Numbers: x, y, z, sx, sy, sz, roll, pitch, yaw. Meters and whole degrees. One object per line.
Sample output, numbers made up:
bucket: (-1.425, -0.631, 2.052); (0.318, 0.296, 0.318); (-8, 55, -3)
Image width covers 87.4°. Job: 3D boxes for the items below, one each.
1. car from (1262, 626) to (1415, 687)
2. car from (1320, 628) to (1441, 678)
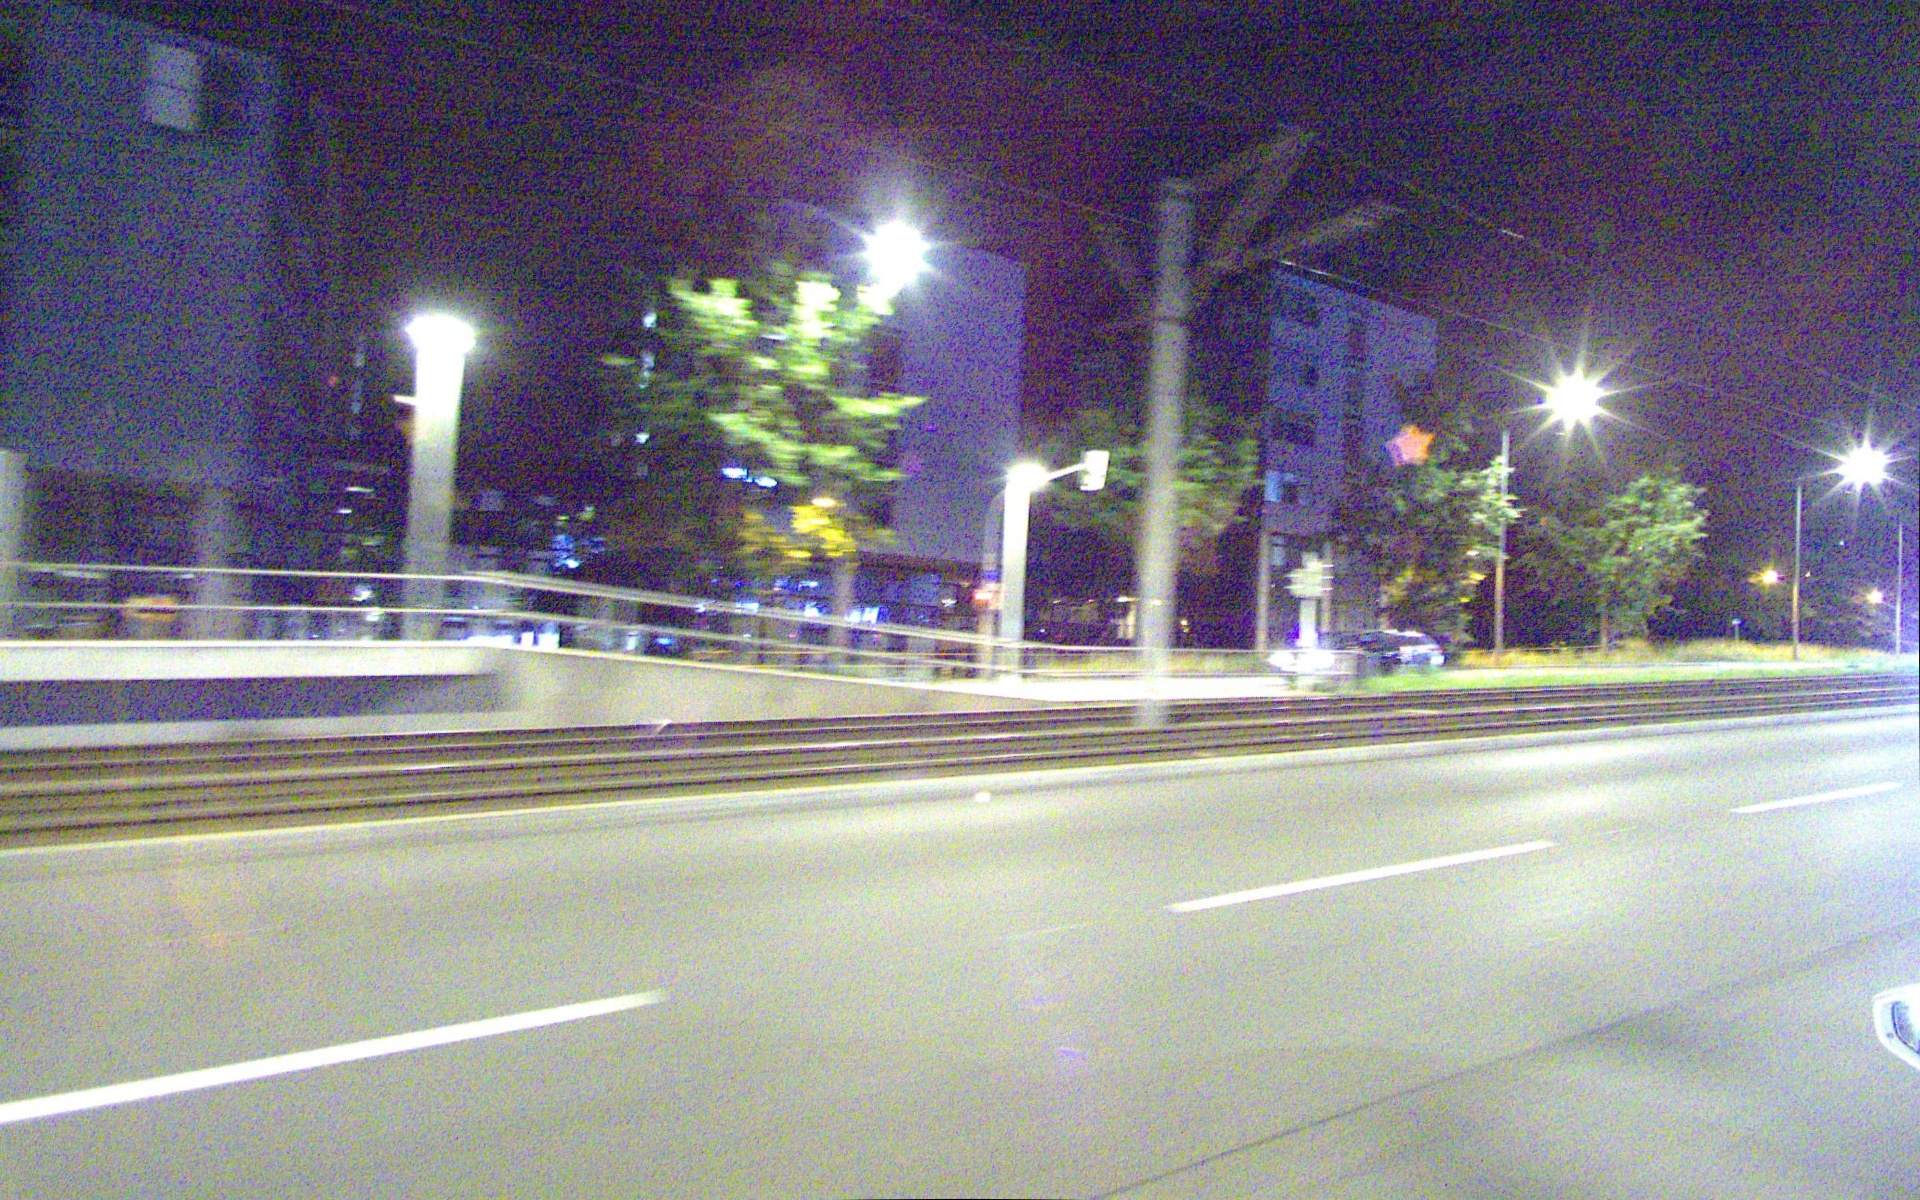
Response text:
car: (10.379, 1.560, 27.487); (4.129, 1.516, 1.775); (3, -2, -32)
car: (13.792, 1.738, 32.908); (3.865, 1.536, 1.652); (2, -1, -30)
